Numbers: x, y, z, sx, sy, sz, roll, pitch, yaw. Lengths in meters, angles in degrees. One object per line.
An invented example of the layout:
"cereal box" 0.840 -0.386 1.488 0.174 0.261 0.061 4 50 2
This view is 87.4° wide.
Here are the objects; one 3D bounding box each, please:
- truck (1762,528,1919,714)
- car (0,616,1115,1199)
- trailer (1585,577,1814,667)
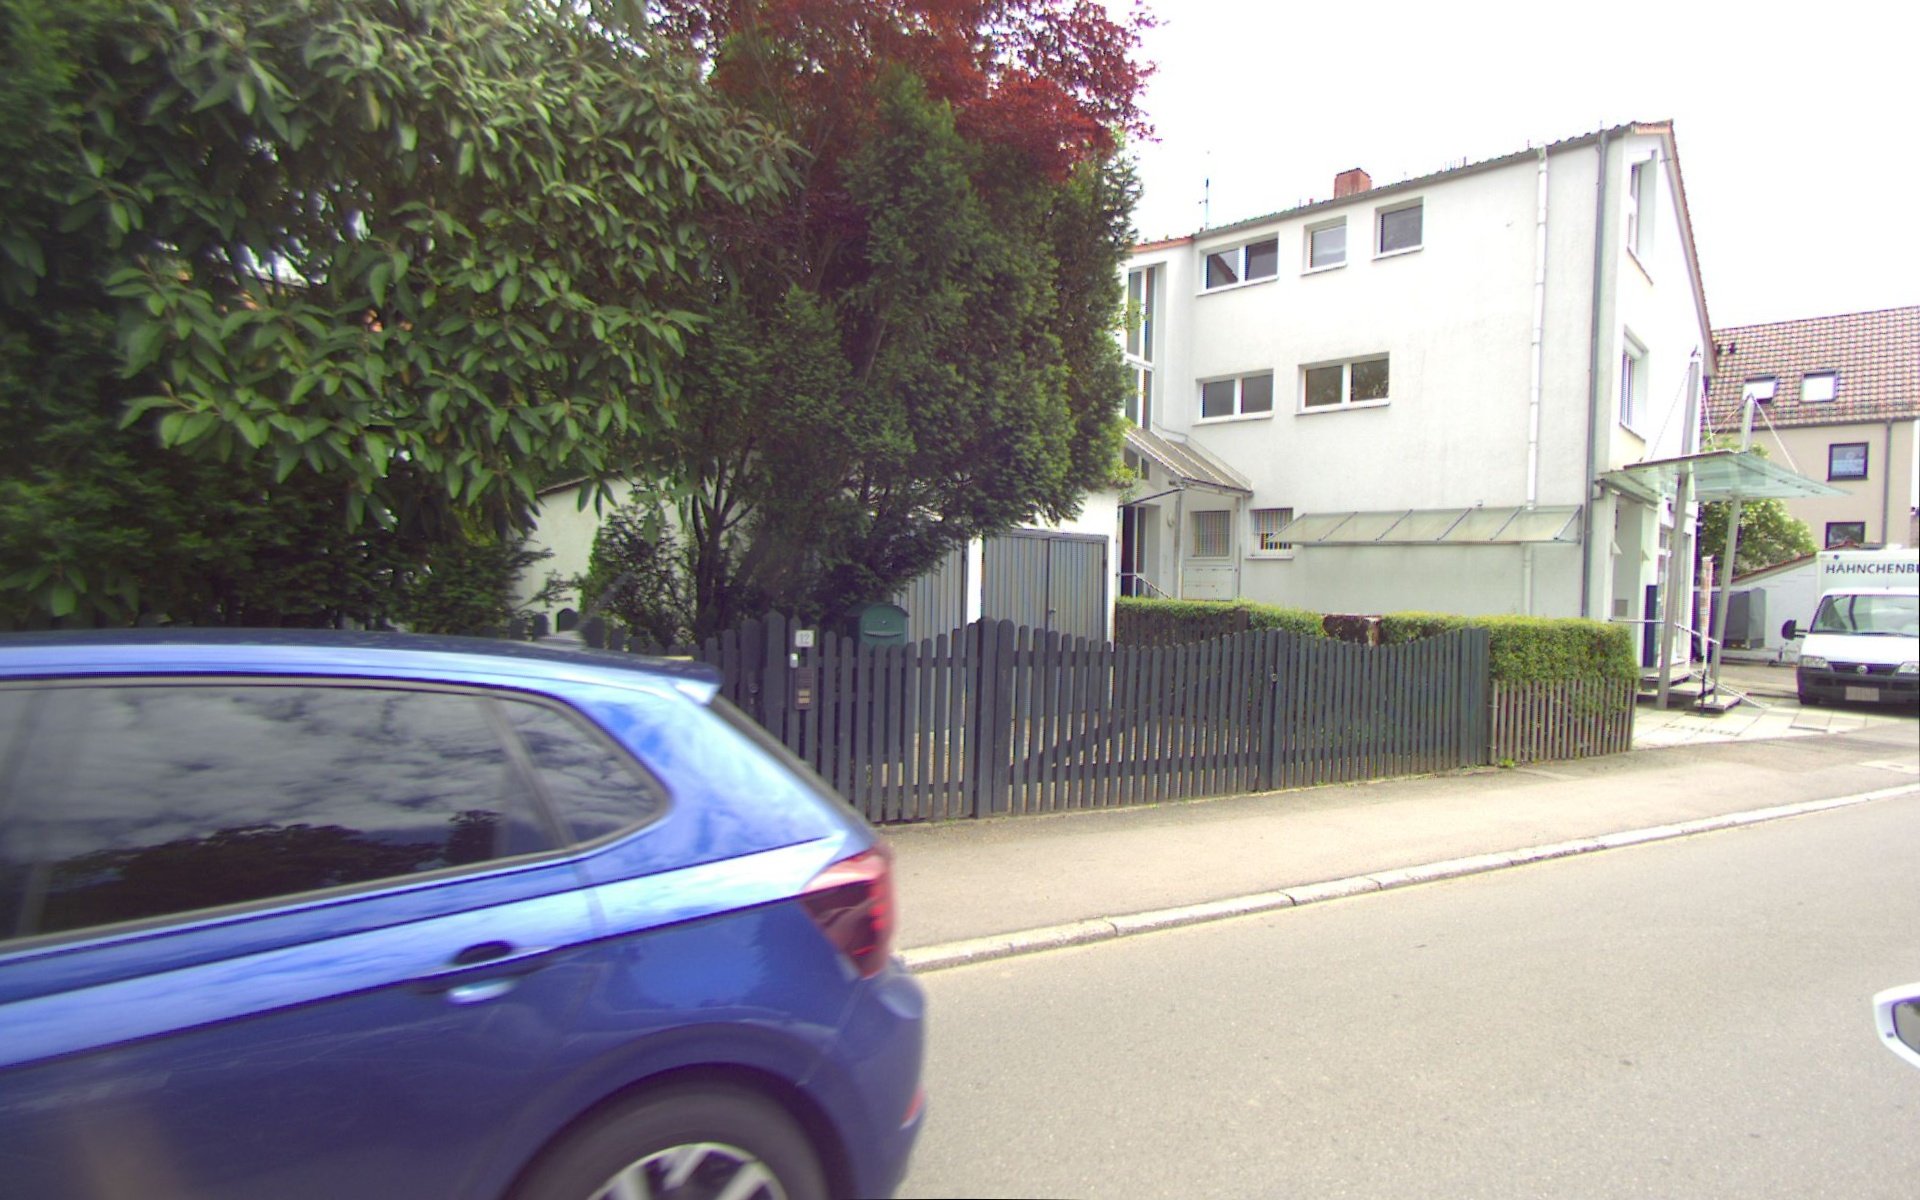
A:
"truck" 17.149 0.374 18.122 6.643 2.878 2.455 1 1 -36
"car" -1.751 0.768 1.982 3.881 1.451 1.686 2 -1 -30
"trailer" 20.644 0.511 28.253 1.688 2.108 4.826 -1 4 -36
